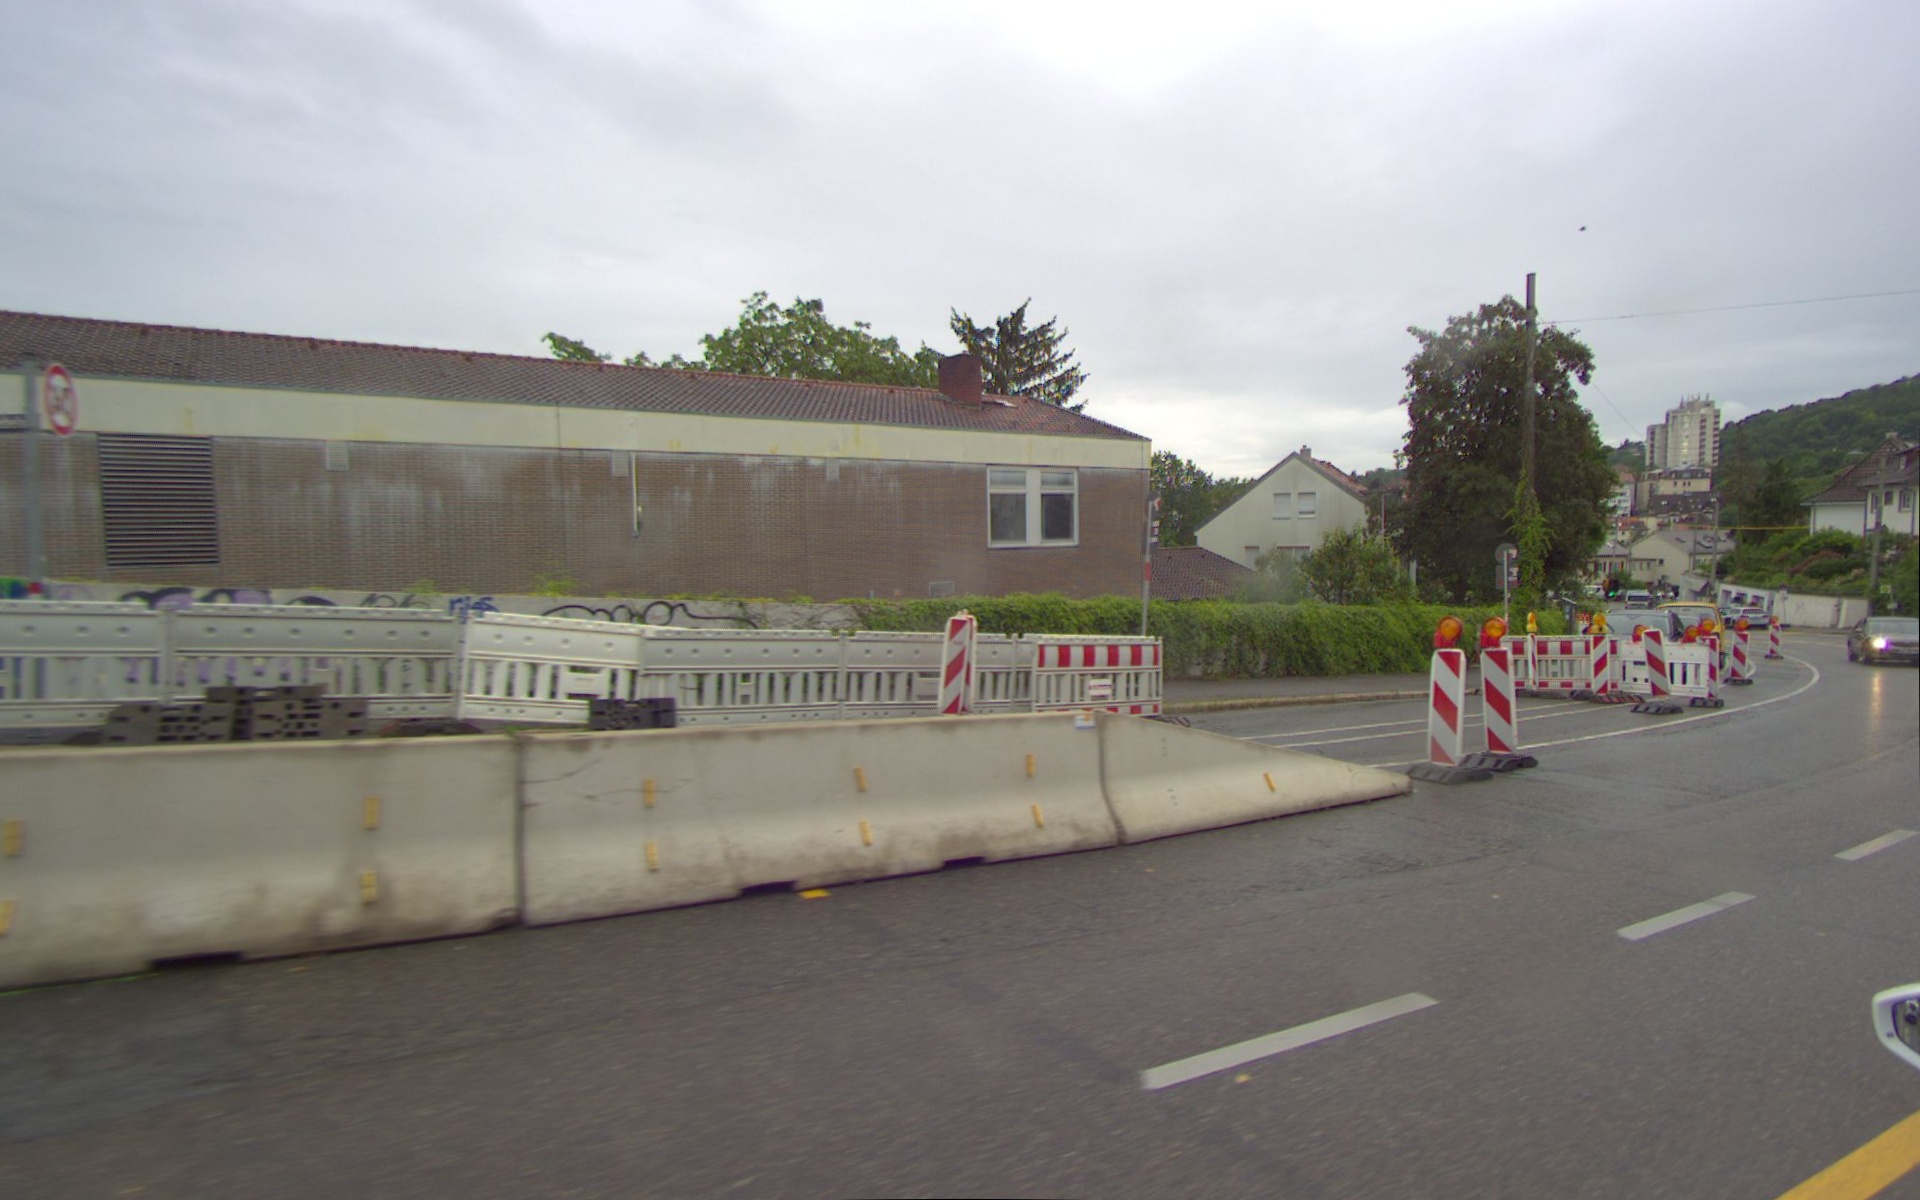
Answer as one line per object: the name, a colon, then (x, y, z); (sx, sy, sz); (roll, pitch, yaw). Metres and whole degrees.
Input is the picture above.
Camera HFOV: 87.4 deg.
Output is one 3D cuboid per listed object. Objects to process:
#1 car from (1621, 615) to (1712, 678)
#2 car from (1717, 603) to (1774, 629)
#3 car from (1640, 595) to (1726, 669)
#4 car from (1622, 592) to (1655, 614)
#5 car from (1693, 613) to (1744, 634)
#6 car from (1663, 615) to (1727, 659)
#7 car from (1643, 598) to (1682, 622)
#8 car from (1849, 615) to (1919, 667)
car: (18.774, 1.162, 26.670); (1.822, 1.483, 3.754); (2, 1, 36)
car: (52.036, 1.041, 66.598); (1.962, 1.595, 3.998); (2, 1, 23)
car: (22.373, 0.941, 31.080); (1.968, 2.040, 5.123); (2, 1, 36)
car: (64.297, 0.278, 95.179); (1.962, 1.707, 3.995); (-1, 4, 25)
car: (54.103, 1.642, 71.706); (1.962, 1.394, 3.998); (2, 1, 23)
car: (27.447, 1.347, 37.549); (1.822, 1.483, 3.754); (2, 1, 36)
car: (59.013, 0.816, 84.413); (1.962, 1.707, 3.995); (-1, 4, 25)
car: (29.598, 1.269, 31.685); (3.973, 1.483, 1.974); (1, 1, -44)
